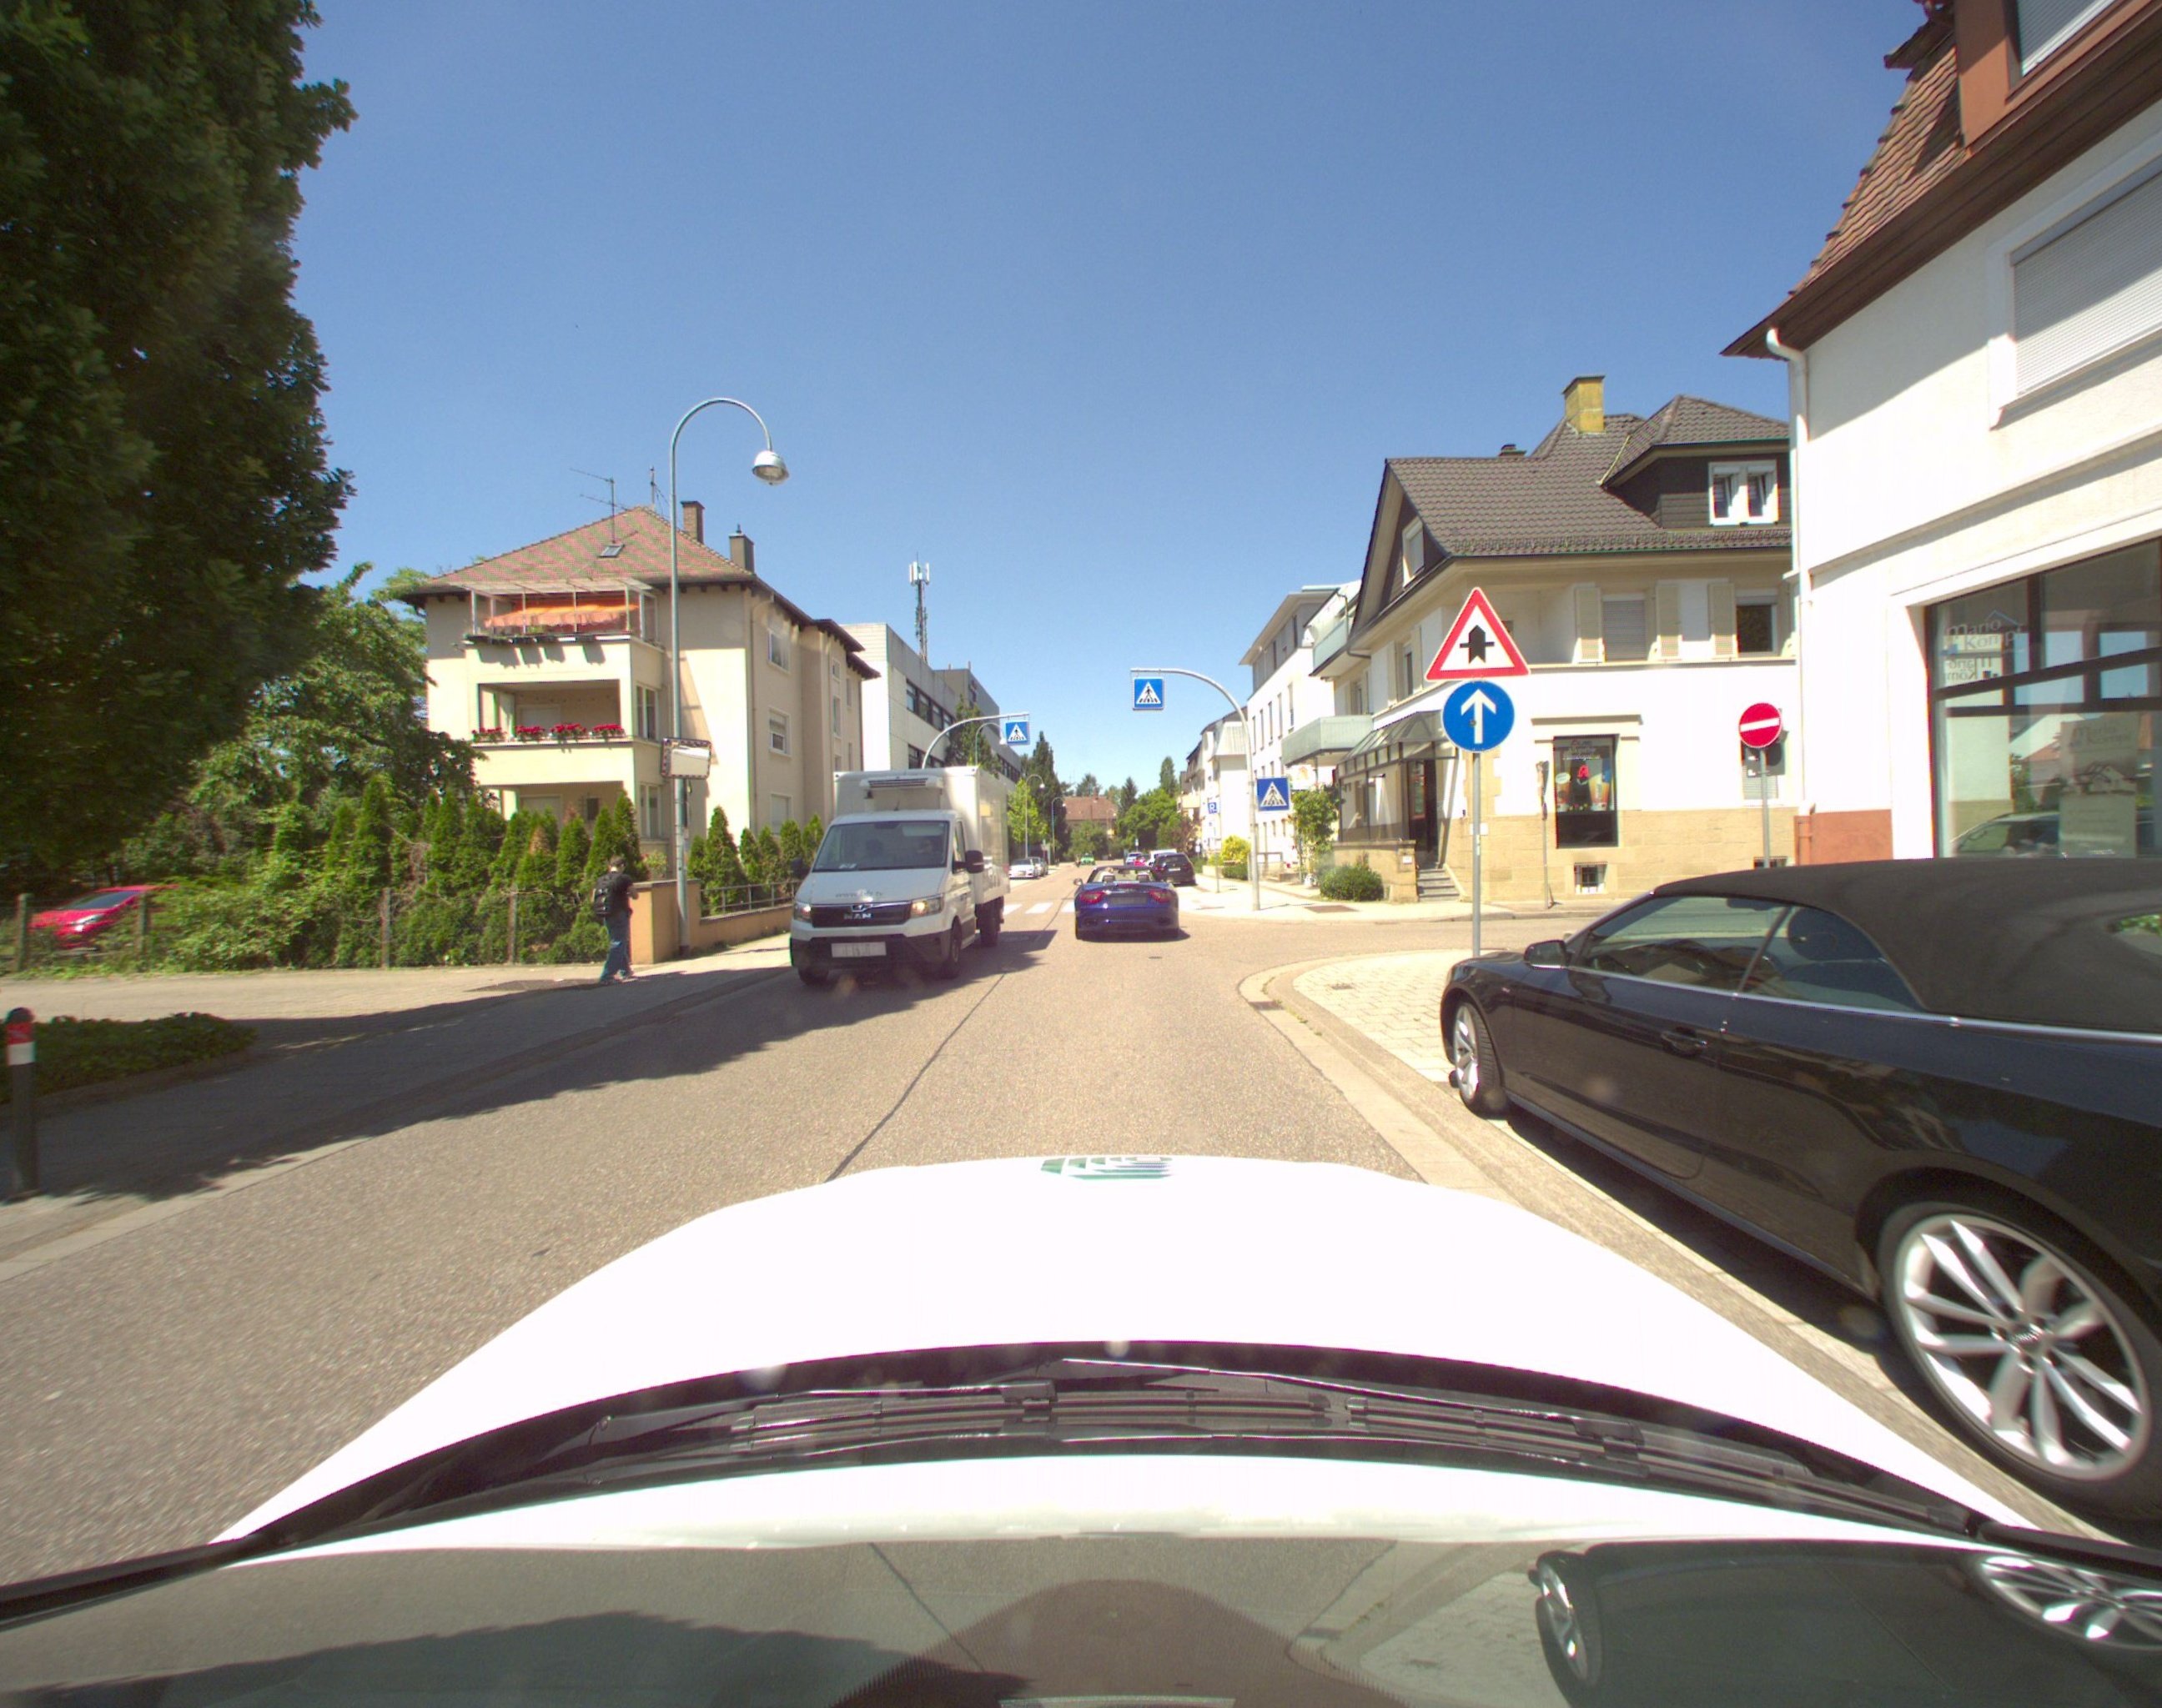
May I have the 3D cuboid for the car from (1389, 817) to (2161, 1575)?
[{"bbox_3d":[3.011,0.632,3.291,1.820,1.427,4.702,-3,0,2],"label":"car"}]

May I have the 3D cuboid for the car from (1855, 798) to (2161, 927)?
[{"bbox_3d":[15.994,0.094,13.308,4.777,1.876,1.929,-2,0,1],"label":"car"}]

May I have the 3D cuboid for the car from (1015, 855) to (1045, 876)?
[{"bbox_3d":[-3.887,0.879,62.481,1.815,1.512,4.291,-1,0,2],"label":"car"}]

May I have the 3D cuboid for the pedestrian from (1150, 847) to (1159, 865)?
[{"bbox_3d":[7.401,0.208,81.616,0.738,1.669,0.706,-4,0,0],"label":"pedestrian"}]

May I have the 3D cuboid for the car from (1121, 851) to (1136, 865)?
[{"bbox_3d":[5.568,0.462,95.917,1.625,1.446,4.399,-4,0,2],"label":"car"}]

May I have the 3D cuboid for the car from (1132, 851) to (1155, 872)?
[{"bbox_3d":[4.906,0.582,64.323,1.597,1.440,3.856,-5,0,3],"label":"car"}]

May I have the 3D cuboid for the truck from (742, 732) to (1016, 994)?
[{"bbox_3d":[-2.628,0.107,12.720,2.410,2.983,6.260,-2,0,2],"label":"truck"}]

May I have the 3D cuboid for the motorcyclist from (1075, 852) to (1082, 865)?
[{"bbox_3d":[-0.304,0.551,94.846,0.696,1.433,0.707,-3,0,2],"label":"motorcyclist"}]

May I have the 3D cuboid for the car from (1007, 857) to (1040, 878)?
[{"bbox_3d":[-3.970,0.934,57.162,1.815,1.411,4.579,0,0,2],"label":"car"}]

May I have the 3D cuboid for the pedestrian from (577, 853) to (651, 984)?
[{"bbox_3d":[-6.233,0.842,10.903,0.534,1.685,0.709,-1,-1,1],"label":"pedestrian"}]

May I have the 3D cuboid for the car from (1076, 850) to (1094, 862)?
[{"bbox_3d":[0.529,0.317,110.458,1.822,1.588,4.086,-1,0,-10],"label":"car"}]

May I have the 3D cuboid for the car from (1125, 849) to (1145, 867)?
[{"bbox_3d":[5.376,0.422,81.379,1.836,1.619,4.430,-4,0,2],"label":"car"}]

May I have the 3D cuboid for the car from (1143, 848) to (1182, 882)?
[{"bbox_3d":[4.252,0.545,43.036,1.698,1.666,4.582,-2,0,2],"label":"car"}]

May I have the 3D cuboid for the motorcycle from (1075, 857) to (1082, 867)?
[{"bbox_3d":[-0.283,0.972,95.013,0.696,1.107,1.791,-3,0,2],"label":"motorcycle"}]

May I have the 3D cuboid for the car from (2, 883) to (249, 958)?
[{"bbox_3d":[-22.279,1.491,19.202,1.705,1.420,3.418,-2,0,1],"label":"car"}]

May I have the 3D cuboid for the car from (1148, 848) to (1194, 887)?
[{"bbox_3d":[4.009,0.577,36.913,1.698,1.556,4.750,-3,0,2],"label":"car"}]

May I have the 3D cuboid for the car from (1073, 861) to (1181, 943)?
[{"bbox_3d":[0.862,0.848,16.268,1.820,1.337,4.702,-1,0,2],"label":"car"}]
